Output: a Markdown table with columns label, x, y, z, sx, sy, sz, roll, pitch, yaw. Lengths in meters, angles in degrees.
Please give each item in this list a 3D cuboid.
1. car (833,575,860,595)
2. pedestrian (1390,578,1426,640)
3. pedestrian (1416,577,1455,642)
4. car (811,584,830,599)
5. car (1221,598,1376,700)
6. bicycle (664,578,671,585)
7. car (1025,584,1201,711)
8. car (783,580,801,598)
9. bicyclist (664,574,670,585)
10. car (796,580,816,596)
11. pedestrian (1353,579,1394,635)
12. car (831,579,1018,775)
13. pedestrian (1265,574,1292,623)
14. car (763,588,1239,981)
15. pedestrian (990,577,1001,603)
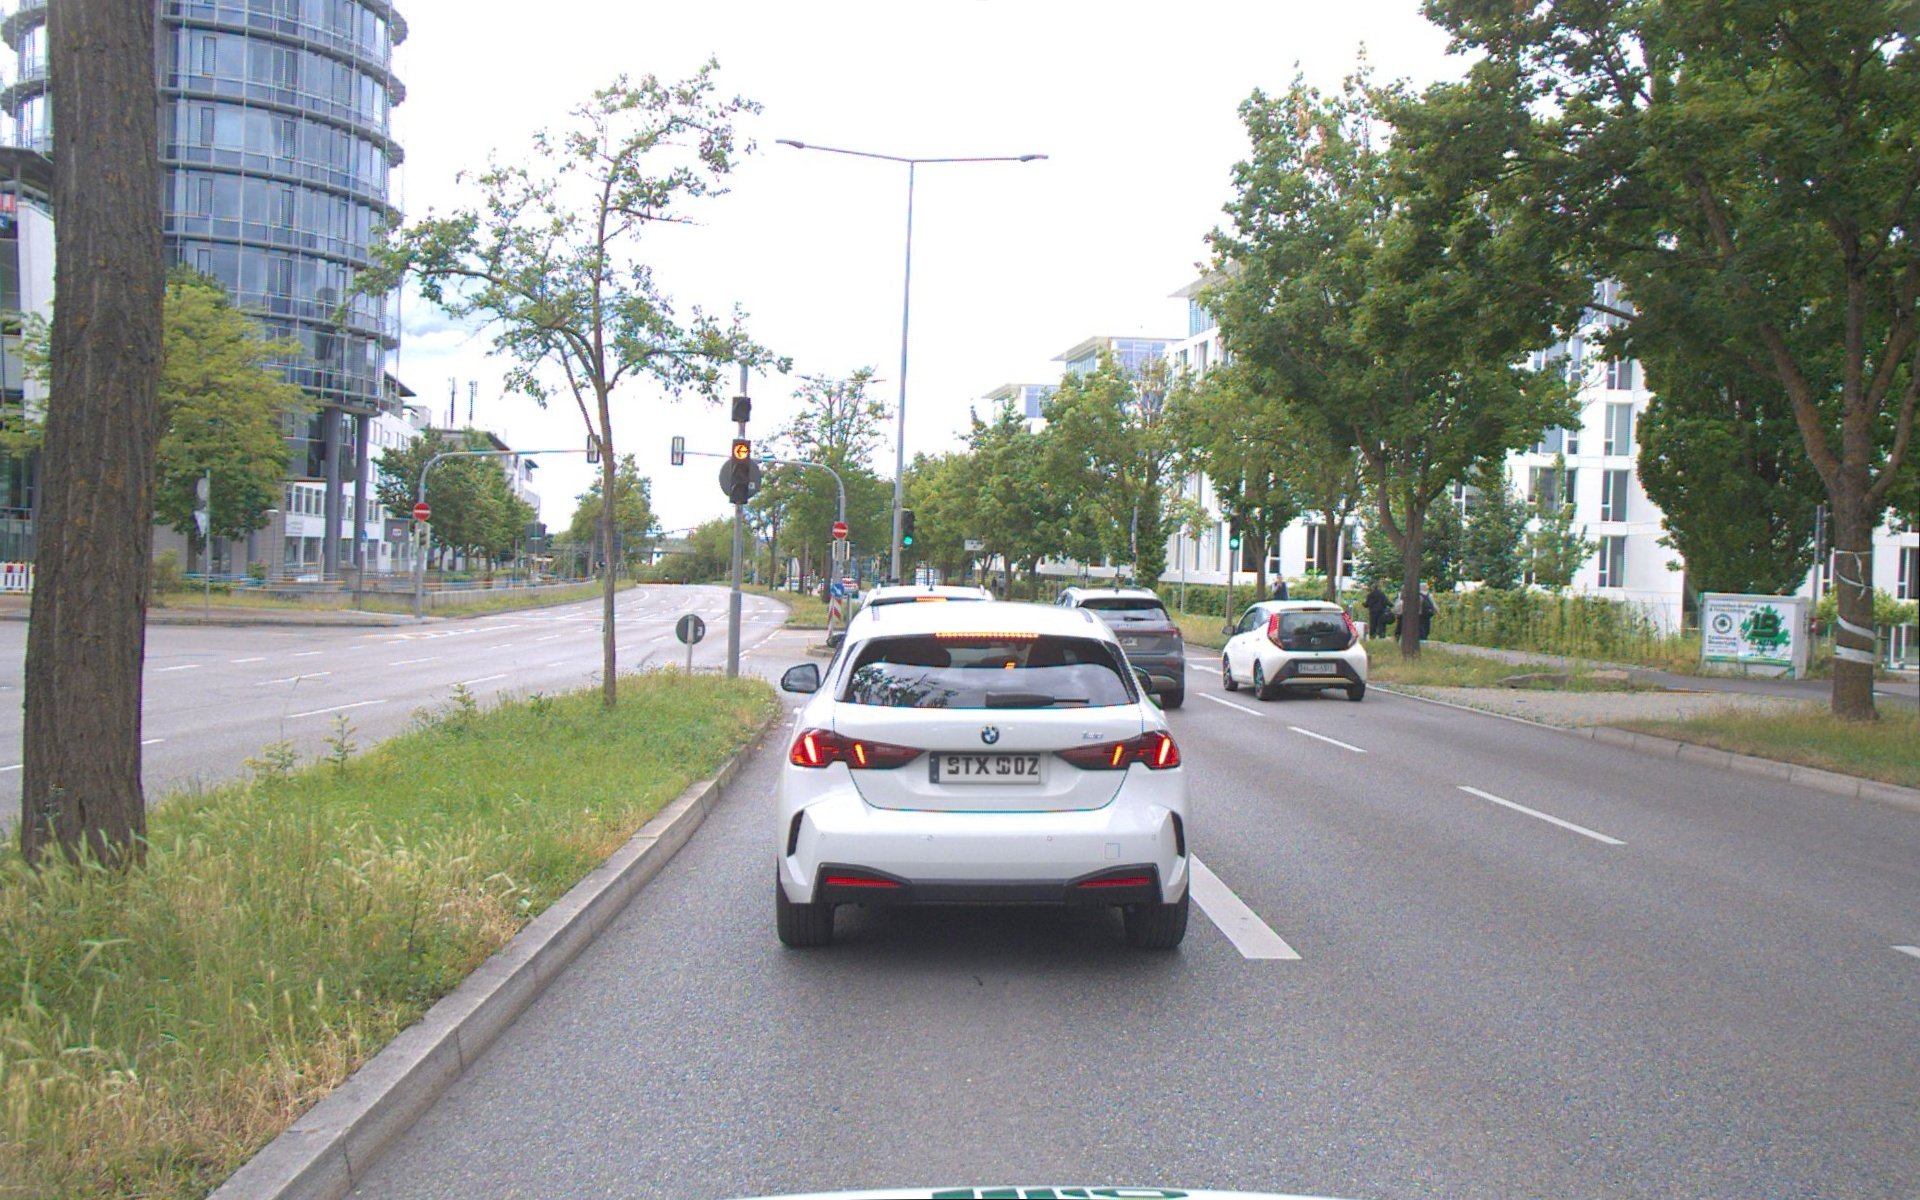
| label | x | y | z | sx | sy | sz | roll | pitch | yaw |
| --- | --- | --- | --- | --- | --- | --- | --- | --- | --- |
| car | -9.568 | -1.263 | 139.415 | 1.956 | 1.699 | 3.993 | 0 | 0 | -8 |
| pedestrian | 12.023 | 0.238 | 44.429 | 0.685 | 1.623 | 0.883 | 1 | 0 | -2 |
| pedestrian | 12.781 | 0.251 | 44.492 | 0.751 | 1.715 | 0.883 | 1 | -1 | -2 |
| car | -14.034 | -0.868 | 166.377 | 1.661 | 1.512 | 3.686 | 1 | 0 | -9 |
| car | 5.164 | 0.707 | 25.644 | 1.620 | 1.450 | 3.534 | 0 | 0 | -1 |
| bicycle | -43.998 | -2.768 | 248.639 | 0.795 | 1.123 | 2.553 | 1 | 0 | -6 |
| car | 2.092 | 0.609 | 23.782 | 1.854 | 1.623 | 4.311 | 1 | 0 | -4 |
| car | -16.655 | -1.063 | 163.743 | 1.663 | 1.747 | 3.994 | 1 | 0 | -7 |
| bicyclist | -44.001 | -3.109 | 248.704 | 0.795 | 1.681 | 1.187 | 1 | 0 | -7 |
| car | -17.768 | -1.364 | 190.677 | 1.957 | 1.763 | 3.991 | 1 | 0 | -10 |
| pedestrian | 11.170 | 0.189 | 44.709 | 0.773 | 1.473 | 1.111 | 1 | 0 | -2 |
| car | -0.322 | 0.631 | 15.790 | 1.518 | 1.596 | 3.999 | 1 | 0 | -1 |
| pedestrian | 10.559 | -0.062 | 54.804 | 0.726 | 1.601 | 0.674 | 1 | -1 | -2 |
| car | 0.131 | 0.699 | 8.326 | 1.785 | 1.463 | 3.999 | 1 | 0 | -1 |
| pedestrian | 2.907 | -0.813 | 135.137 | 0.749 | 2.049 | 0.751 | 1 | -1 | -16 |
